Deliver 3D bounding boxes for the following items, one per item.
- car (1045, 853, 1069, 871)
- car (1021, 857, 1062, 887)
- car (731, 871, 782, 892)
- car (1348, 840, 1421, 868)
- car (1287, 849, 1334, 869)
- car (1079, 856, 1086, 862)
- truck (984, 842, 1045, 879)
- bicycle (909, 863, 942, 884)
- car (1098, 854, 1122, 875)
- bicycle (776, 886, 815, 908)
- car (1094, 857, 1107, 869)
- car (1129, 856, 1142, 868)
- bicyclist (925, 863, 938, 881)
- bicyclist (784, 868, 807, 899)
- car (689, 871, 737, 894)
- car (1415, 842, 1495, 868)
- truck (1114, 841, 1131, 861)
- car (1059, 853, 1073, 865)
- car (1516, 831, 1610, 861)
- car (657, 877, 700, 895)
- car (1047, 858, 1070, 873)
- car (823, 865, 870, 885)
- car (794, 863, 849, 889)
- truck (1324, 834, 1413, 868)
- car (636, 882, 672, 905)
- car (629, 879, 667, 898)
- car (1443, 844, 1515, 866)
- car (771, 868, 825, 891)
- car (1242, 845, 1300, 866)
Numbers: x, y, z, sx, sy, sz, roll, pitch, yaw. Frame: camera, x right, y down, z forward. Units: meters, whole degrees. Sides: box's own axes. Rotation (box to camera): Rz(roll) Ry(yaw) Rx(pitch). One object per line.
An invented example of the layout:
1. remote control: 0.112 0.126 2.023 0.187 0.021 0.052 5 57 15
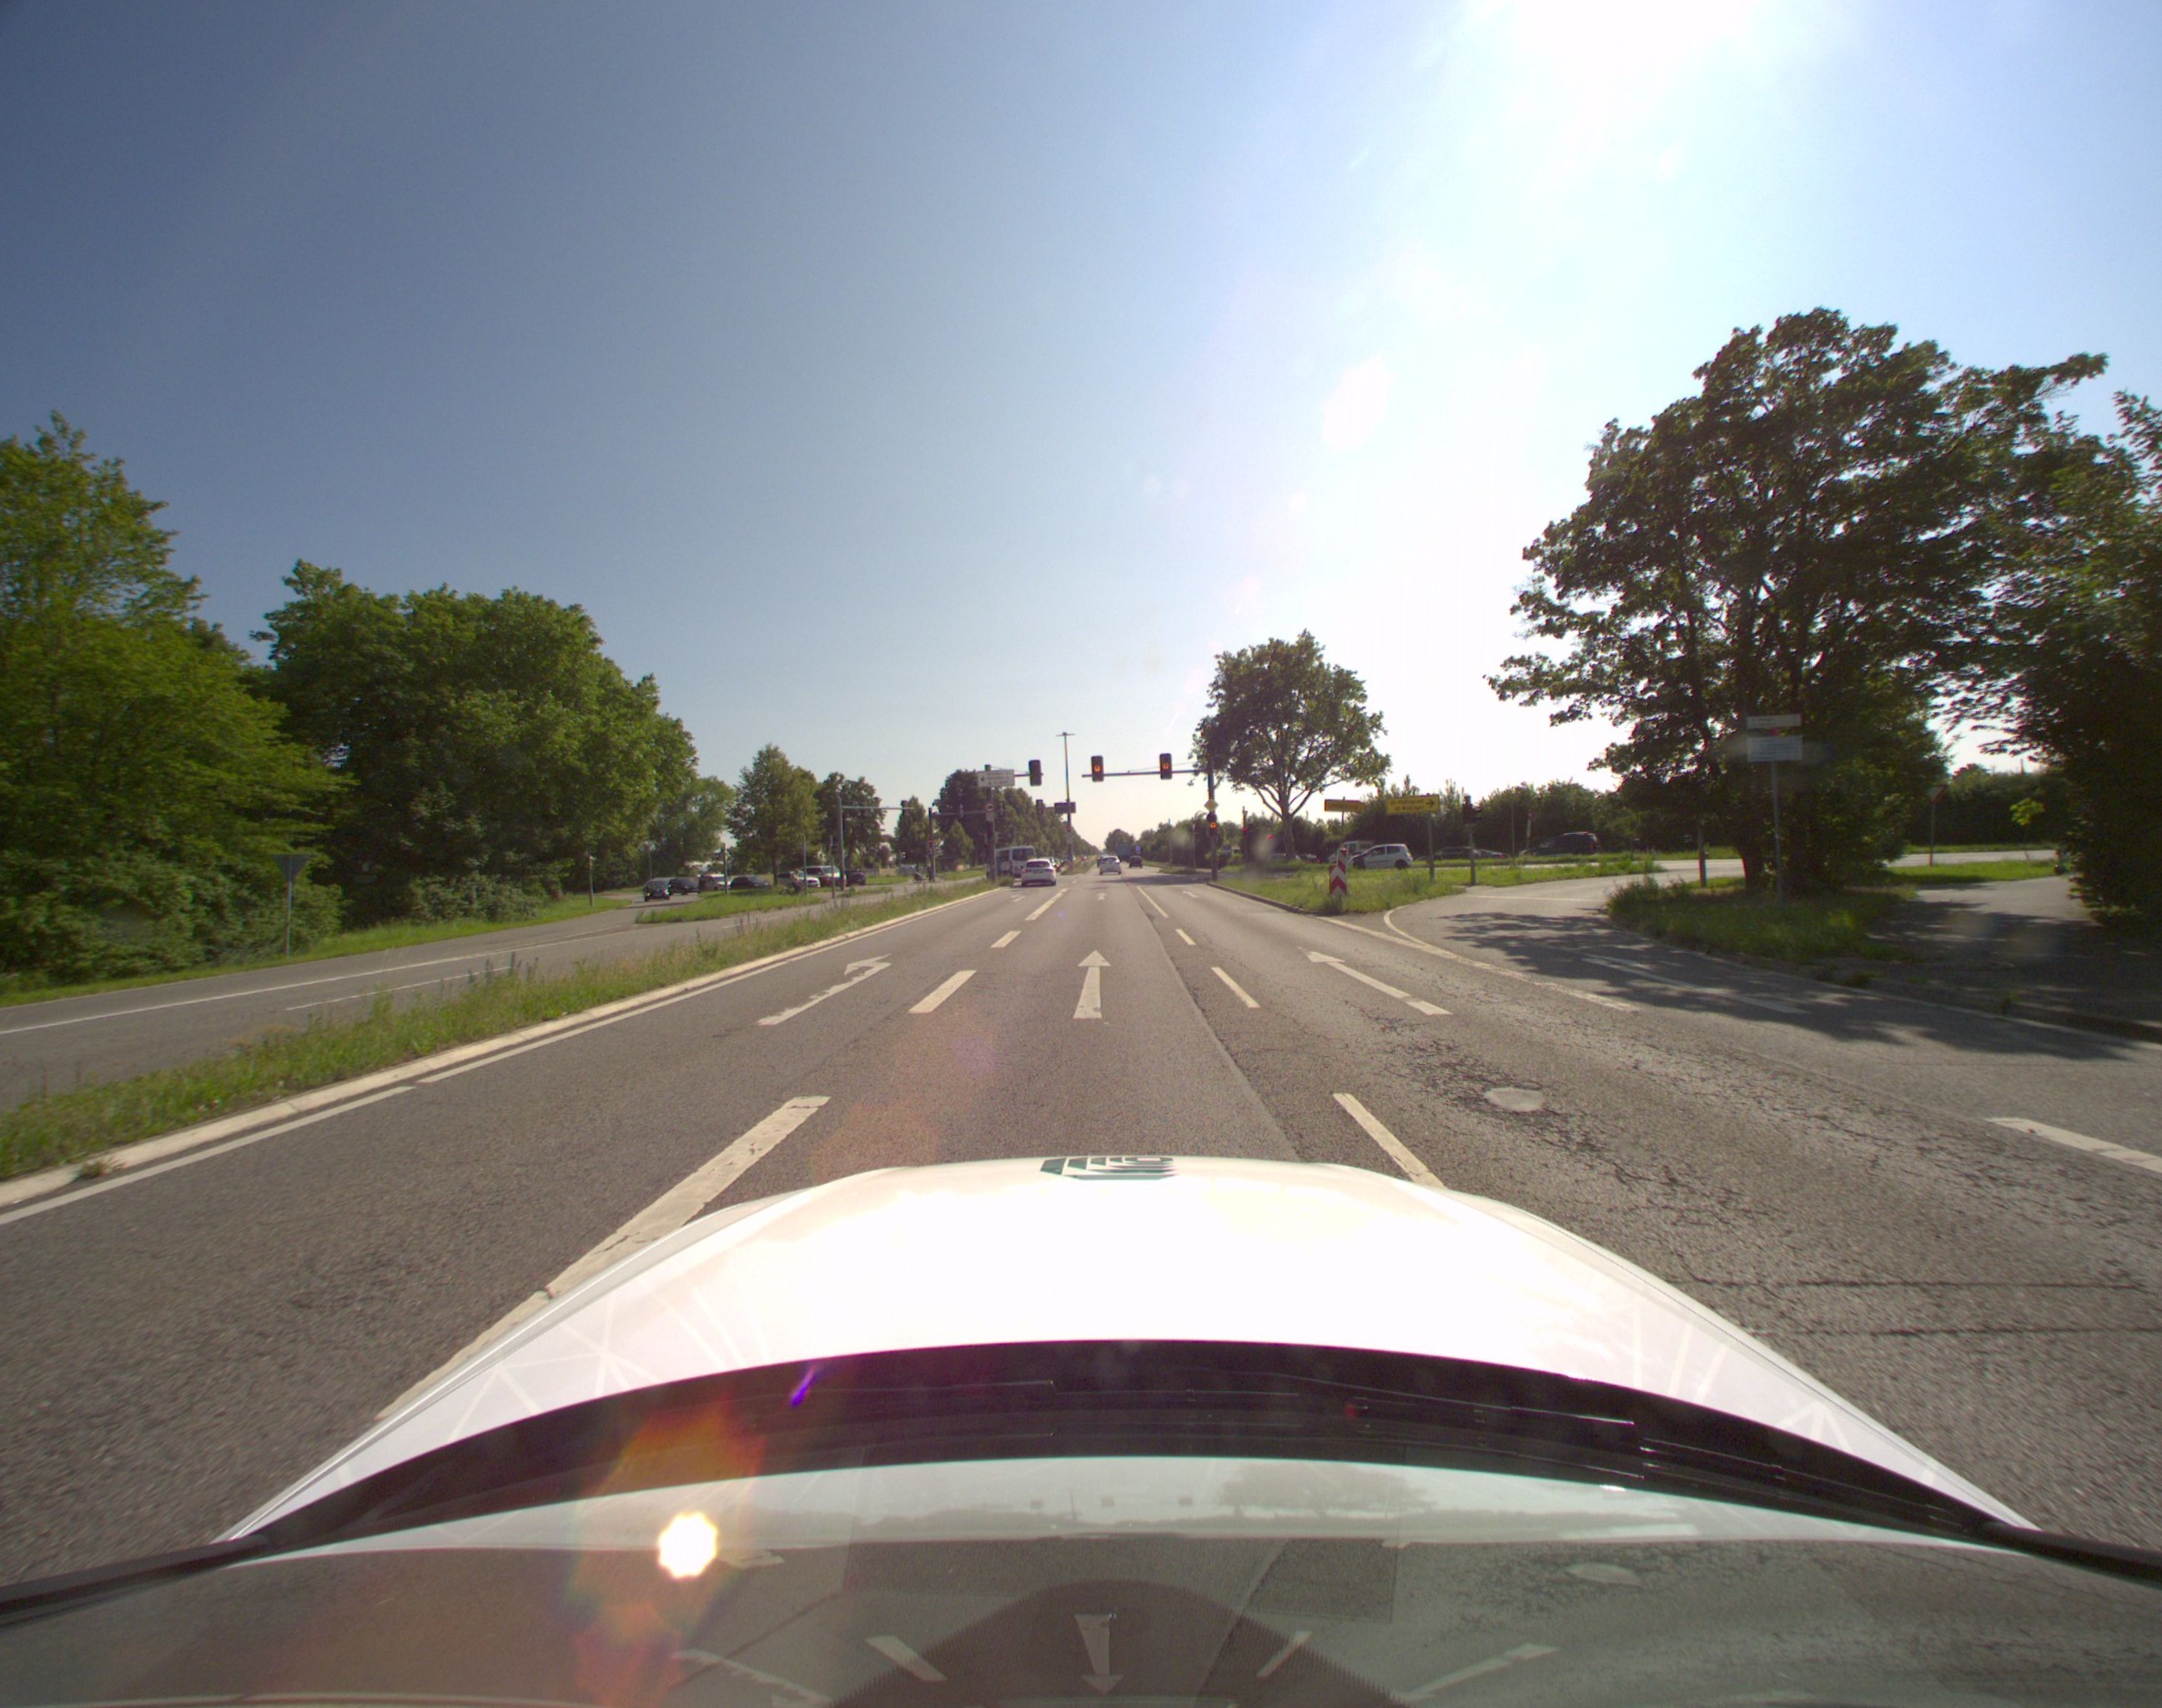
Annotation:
1. car: -2.310 0.788 78.120 2.003 1.610 4.212 -3 -1 1
2. car: -2.105 0.927 44.657 1.805 1.464 4.973 -3 0 2
3. car: -27.462 2.338 68.884 4.212 1.606 2.018 -3 0 37
4. car: 17.348 -0.011 46.522 3.708 1.469 1.796 -2 0 26
5. car: 18.999 0.439 67.592 1.625 1.547 3.789 0 -2 -28
6. car: 0.470 1.417 236.959 1.906 1.502 4.091 -3 0 0
7. truck: -4.740 0.461 56.978 2.384 2.389 5.993 -3 0 -23
8. bicycle: -13.812 1.735 72.324 2.765 1.670 1.143 -3 0 29
9. car: 2.298 0.811 64.504 1.791 1.552 4.003 -1 0 3
10. bicycle: -14.634 2.226 41.790 1.667 1.041 0.748 -2 0 7
11. car: 2.526 1.113 105.284 1.566 1.414 3.279 -3 0 2
12. car: 6.696 0.955 100.286 1.566 1.414 3.279 -2 -1 2
13. bicyclist: -13.188 1.585 71.873 0.854 1.618 0.763 -2 -1 29
14. bicyclist: -14.656 1.500 41.791 0.842 1.517 0.748 -2 0 7
15. car: -32.984 2.553 72.949 4.448 1.800 2.018 -3 0 37
16. car: 24.553 0.085 53.585 1.895 1.635 4.419 1 -1 -37
17. truck: 7.880 -0.571 155.283 2.880 3.428 9.173 -3 0 2
18. car: -2.124 0.701 117.918 1.840 1.594 4.618 -3 0 1
19. car: 28.527 -0.438 48.295 1.898 1.635 4.414 1 -2 -44
20. car: -37.844 3.035 76.605 4.072 1.512 1.932 -3 0 37
21. car: -2.352 1.207 84.920 1.808 1.485 4.900 -1 0 5
22. car: -20.914 1.872 72.526 3.948 1.649 1.926 -2 -1 36
23. car: -21.957 1.887 68.863 4.595 1.950 2.013 -3 -1 37
24. truck: 21.855 -0.145 62.304 2.353 2.386 6.410 1 -2 -31
25. car: -32.852 3.009 62.595 2.008 1.495 4.240 -4 0 -32
26. car: -42.592 3.402 80.111 4.214 1.606 2.017 -3 0 44
27. car: 27.108 0.090 55.555 1.899 1.420 3.955 1 -2 -37
28. car: -22.679 2.059 65.301 4.212 1.606 2.018 -3 0 37
29. car: 15.308 0.116 65.714 2.005 1.547 4.574 -2 -1 -28
